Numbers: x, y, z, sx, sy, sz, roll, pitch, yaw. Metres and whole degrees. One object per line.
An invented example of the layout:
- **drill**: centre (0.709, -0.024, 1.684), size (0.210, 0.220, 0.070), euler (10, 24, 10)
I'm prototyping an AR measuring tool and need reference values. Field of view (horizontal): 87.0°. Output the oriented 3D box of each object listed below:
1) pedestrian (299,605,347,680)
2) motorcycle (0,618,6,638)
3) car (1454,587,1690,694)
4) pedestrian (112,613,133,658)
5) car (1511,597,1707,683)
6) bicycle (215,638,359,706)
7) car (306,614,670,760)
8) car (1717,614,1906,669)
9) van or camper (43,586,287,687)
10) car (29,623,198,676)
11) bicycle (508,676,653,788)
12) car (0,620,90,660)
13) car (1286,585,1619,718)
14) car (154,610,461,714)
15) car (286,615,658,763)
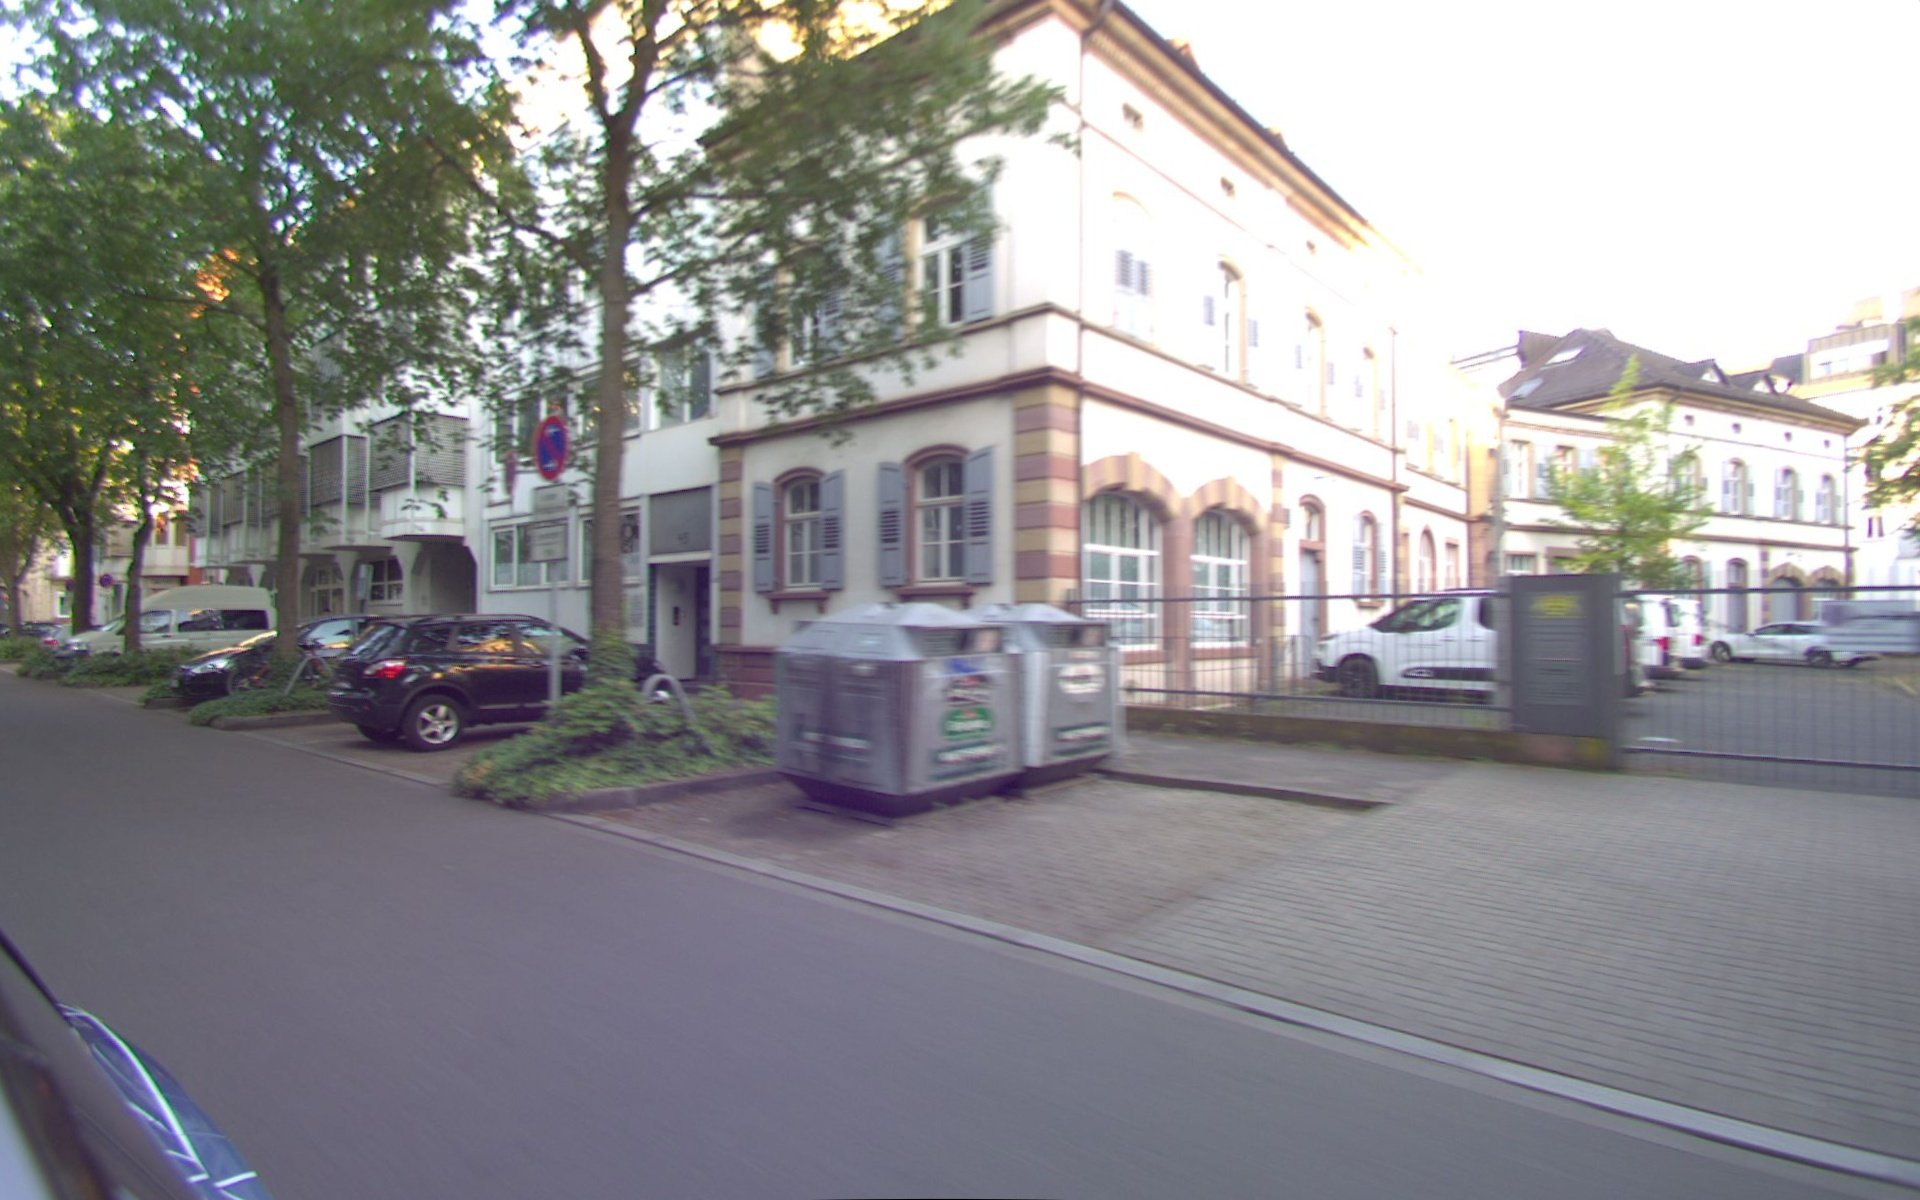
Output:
- **pedestrian**: centre (-17.601, 1.165, 27.966), size (0.839, 2.029, 0.930), euler (-2, -2, 45)
- **motorcycle**: centre (-54.201, 1.586, 56.298), size (0.572, 1.151, 1.604), euler (-1, 0, 44)
- **car**: centre (12.760, 0.820, 21.233), size (3.998, 2.029, 1.666), euler (-1, -2, 41)
- **pedestrian**: centre (-33.741, 1.429, 40.784), size (0.628, 1.758, 0.680), euler (1, -2, -40)
- **car**: centre (16.484, 0.993, 25.804), size (3.998, 2.029, 1.666), euler (-1, -2, 41)
- **bicycle**: centre (-10.903, 1.143, 16.454), size (0.479, 1.033, 1.882), euler (-2, -3, 39)
- **car**: centre (-5.988, 0.991, 13.194), size (1.788, 1.604, 3.946), euler (-1, -2, 41)
- **car**: centre (27.349, 1.294, 32.677), size (1.745, 1.649, 4.322), euler (1, -2, -27)
- **van or camper**: centre (-20.958, 0.964, 26.855), size (1.944, 2.446, 4.766), euler (-2, -3, 41)
- **car**: centre (-27.006, 1.531, 32.361), size (1.622, 1.539, 4.008), euler (-2, -2, 44)
- **bicycle**: centre (-3.706, 1.264, 10.018), size (0.480, 0.944, 1.552), euler (-1, -2, 18)
- **car**: centre (-42.786, 1.827, 46.144), size (1.789, 1.772, 4.420), euler (-1, -3, 38)
- **car**: centre (7.713, 0.711, 16.121), size (4.461, 1.820, 1.763), euler (1, 0, 41)
- **car**: centre (-11.896, 1.089, 18.756), size (1.619, 1.695, 4.492), euler (-1, -3, 37)
- **car**: centre (-6.119, 1.007, 13.070), size (1.826, 1.600, 3.948), euler (-1, -2, 39)
